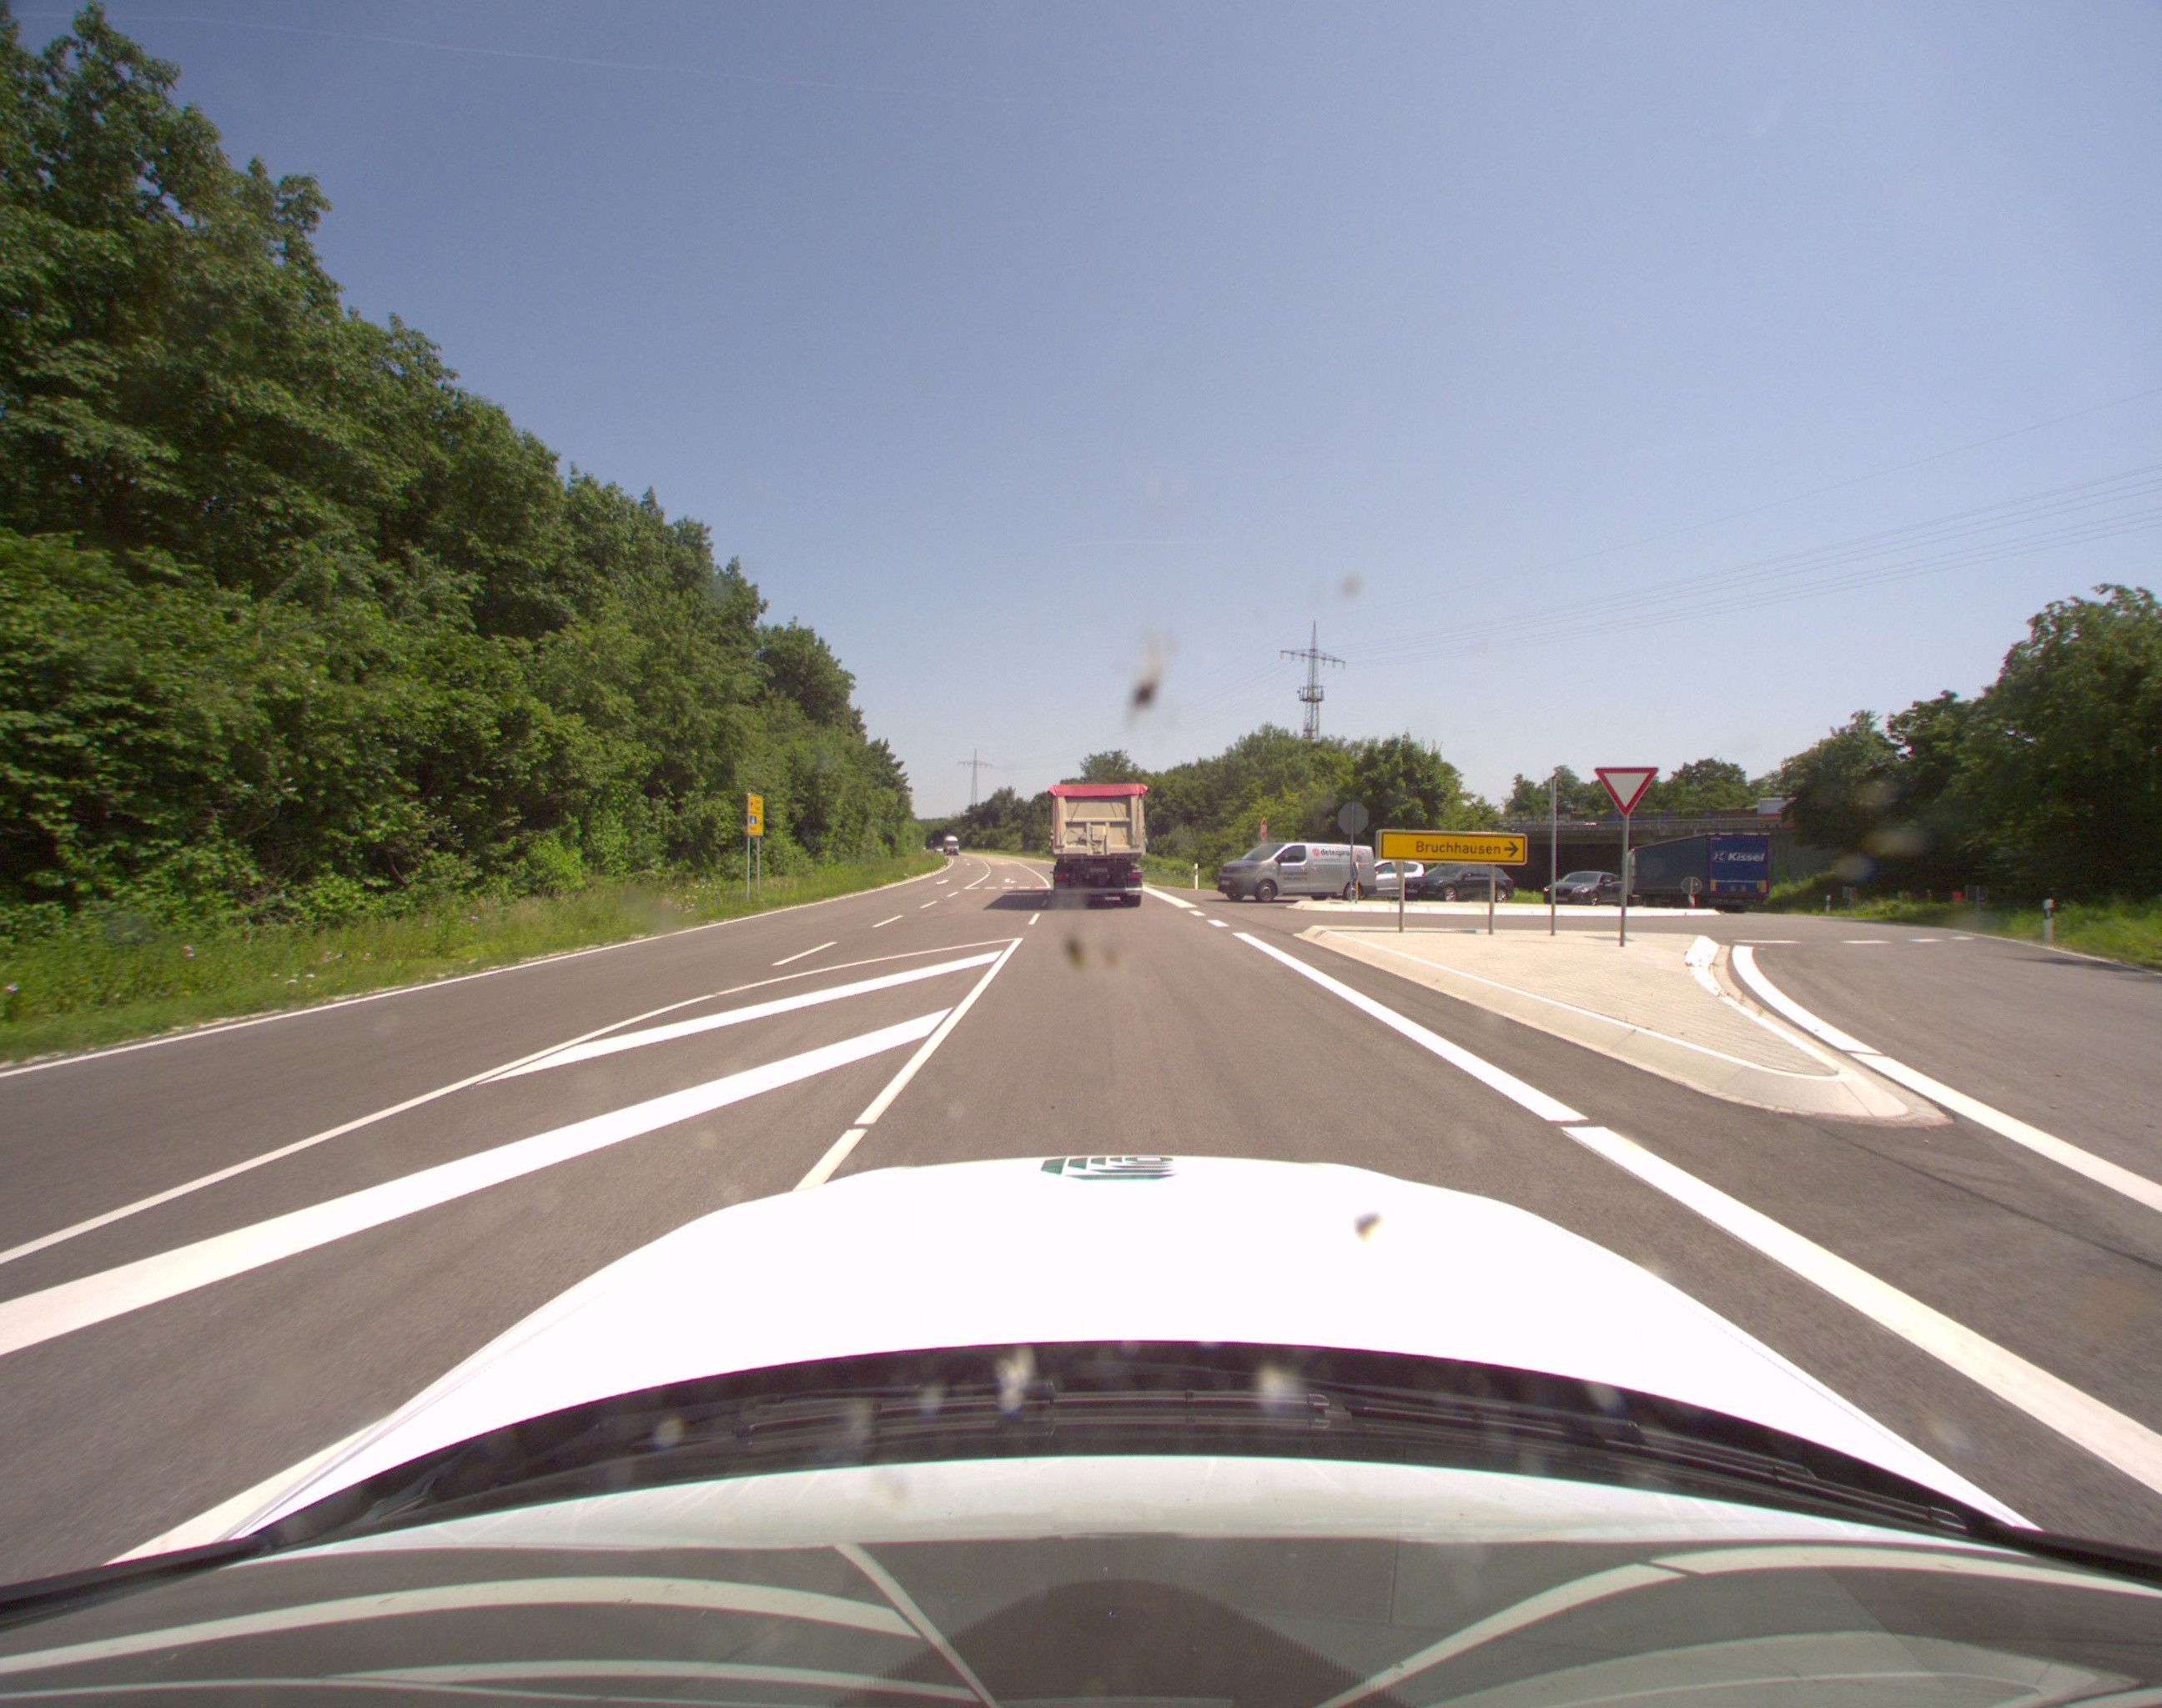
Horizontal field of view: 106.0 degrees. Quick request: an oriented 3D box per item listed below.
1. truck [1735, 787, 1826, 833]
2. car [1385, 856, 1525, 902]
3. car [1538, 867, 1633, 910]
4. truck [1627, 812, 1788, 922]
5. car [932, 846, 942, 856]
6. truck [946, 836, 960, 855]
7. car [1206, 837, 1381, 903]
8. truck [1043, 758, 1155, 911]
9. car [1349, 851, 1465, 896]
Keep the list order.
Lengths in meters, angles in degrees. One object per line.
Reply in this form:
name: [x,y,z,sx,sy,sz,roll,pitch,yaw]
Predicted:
truck: [55.375,-3.412,64.579,2.483,3.276,4.839,-1,0,-26]
car: [12.951,0.834,28.179,4.568,1.474,1.854,0,0,-23]
car: [19.936,1.359,32.123,4.114,1.599,1.792,2,-2,-36]
truck: [35.420,0.648,47.038,3.333,5.315,15.424,-1,0,22]
car: [-28.469,-0.618,161.431,1.843,1.779,4.877,-1,0,-10]
truck: [-24.875,-1.653,158.439,2.626,3.670,8.772,-1,0,-8]
car: [6.757,0.539,25.897,5.233,1.907,1.999,2,-1,-22]
truck: [0.283,-0.565,27.321,2.886,3.962,11.924,-1,0,-2]
car: [12.501,0.714,31.260,3.997,1.580,1.832,-1,0,-22]
